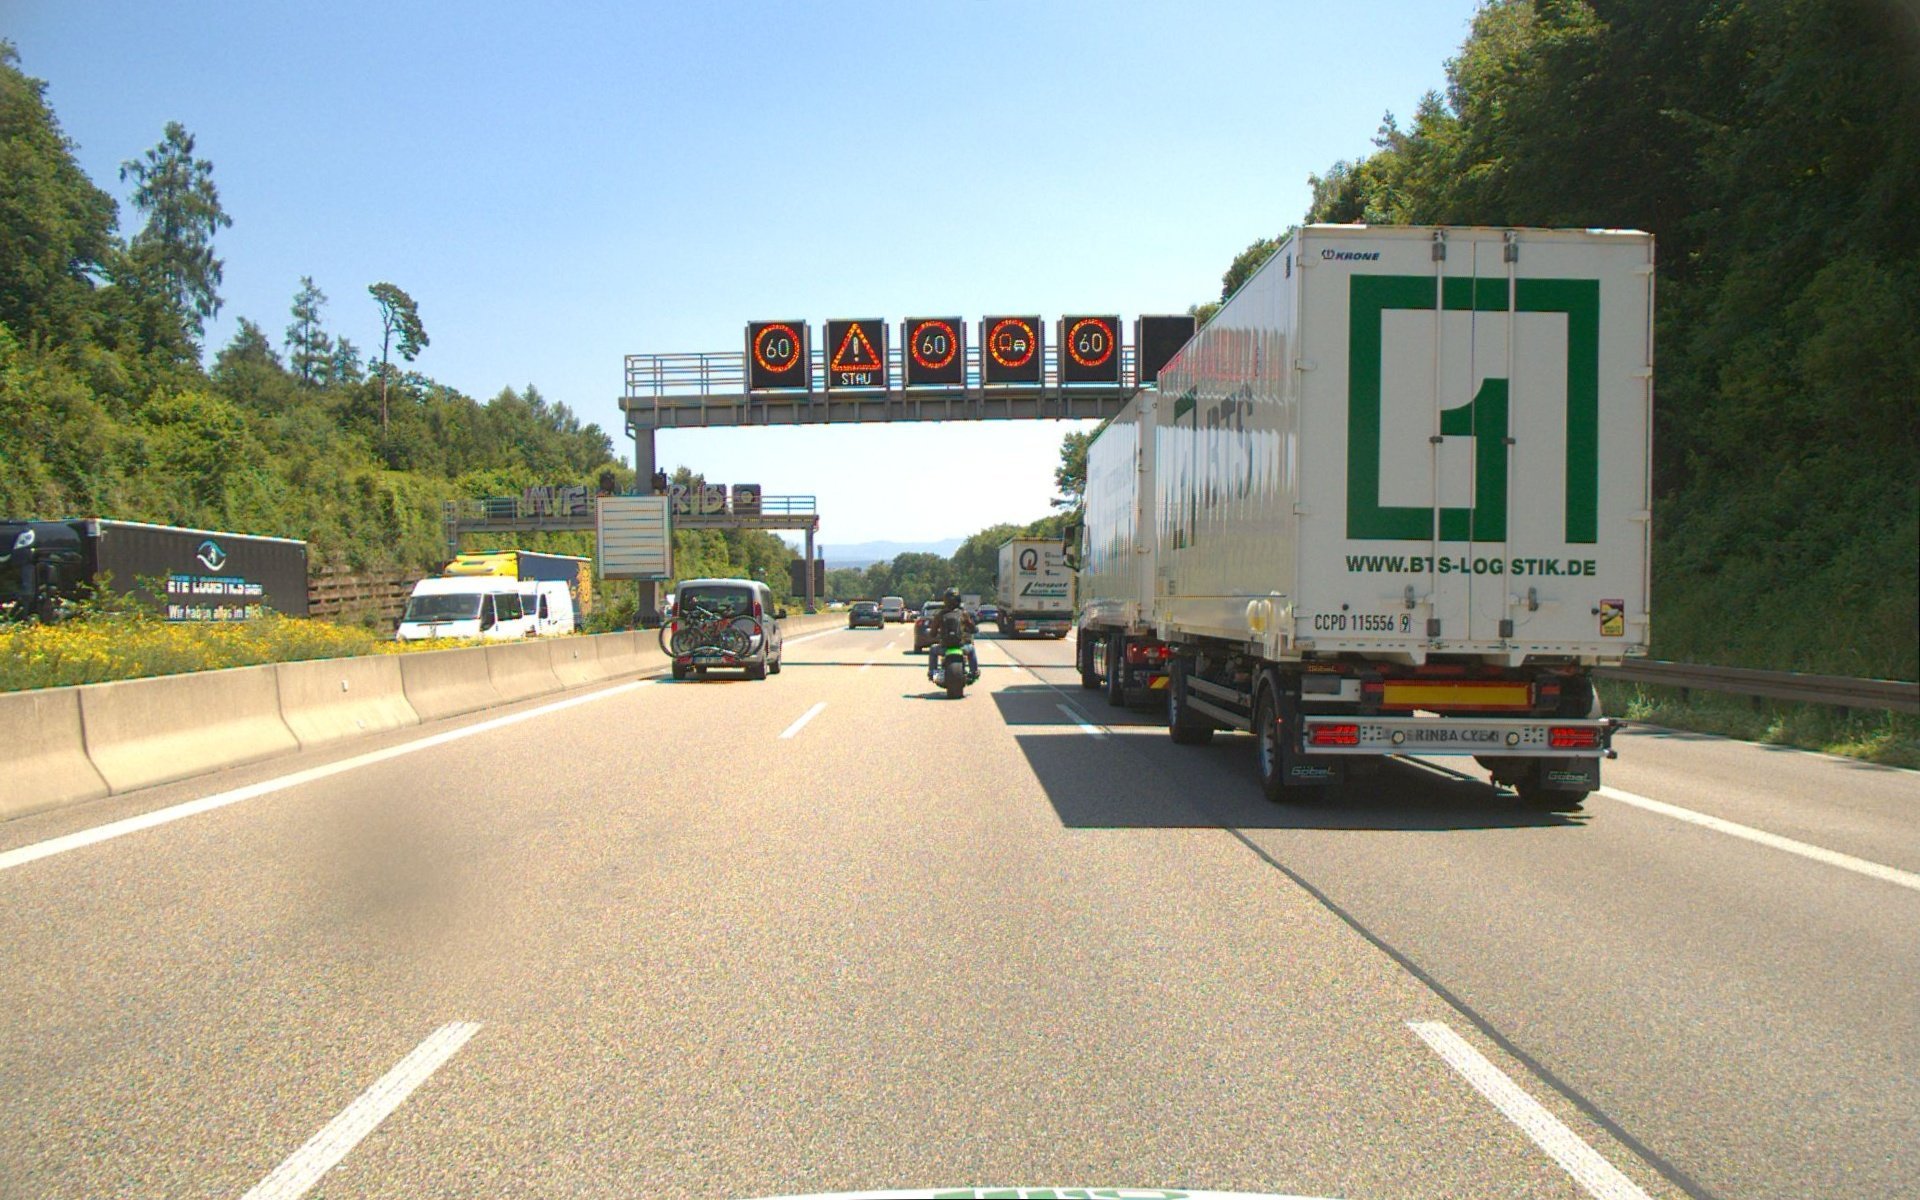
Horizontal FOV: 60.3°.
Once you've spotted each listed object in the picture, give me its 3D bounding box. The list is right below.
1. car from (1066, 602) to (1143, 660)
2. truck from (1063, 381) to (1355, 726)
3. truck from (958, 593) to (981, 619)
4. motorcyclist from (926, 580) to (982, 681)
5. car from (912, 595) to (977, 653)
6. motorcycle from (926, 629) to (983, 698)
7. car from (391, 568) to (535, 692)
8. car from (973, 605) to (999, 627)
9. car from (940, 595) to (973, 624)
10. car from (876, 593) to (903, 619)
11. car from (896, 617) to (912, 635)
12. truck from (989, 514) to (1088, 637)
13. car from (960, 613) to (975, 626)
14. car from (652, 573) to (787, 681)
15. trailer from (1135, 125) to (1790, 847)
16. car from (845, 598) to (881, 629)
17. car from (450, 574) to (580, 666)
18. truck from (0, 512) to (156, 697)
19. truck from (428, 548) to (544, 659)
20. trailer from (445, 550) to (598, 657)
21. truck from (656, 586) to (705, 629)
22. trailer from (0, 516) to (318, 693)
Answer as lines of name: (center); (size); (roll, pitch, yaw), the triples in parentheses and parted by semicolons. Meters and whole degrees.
car: (4.231, 0.887, 48.965); (1.808, 1.584, 4.391); (1, 0, -1)
truck: (3.336, -0.555, 25.216); (2.625, 4.130, 10.623); (1, 0, -1)
truck: (1.324, 0.854, 230.612); (3.005, 3.405, 9.650); (2, 0, -1)
motorcyclist: (-0.088, 0.465, 25.631); (0.838, 1.541, 0.913); (0, -1, 0)
car: (-0.481, 0.664, 48.631); (1.808, 1.584, 4.438); (1, 0, -1)
motorcycle: (-0.079, 0.965, 25.695); (0.844, 0.999, 2.130); (0, -1, 0)
car: (-11.718, 0.660, 39.349); (1.958, 2.720, 4.845); (-1, 0, -1)
car: (1.919, 1.181, 123.873); (1.794, 1.553, 4.026); (1, 0, -1)
car: (-0.231, 0.538, 95.335); (1.794, 1.586, 4.119); (1, 0, -1)
car: (-5.099, 0.421, 120.209); (1.794, 1.842, 4.119); (1, 0, -1)
car: (-6.240, 2.902, 184.471); (1.794, 1.842, 4.119); (1, 0, -1)
truck: (3.300, -0.971, 75.090); (3.314, 4.800, 17.705); (2, 0, -1)
car: (0.924, 2.463, 206.435); (1.794, 1.553, 4.026); (1, 0, -1)
car: (-4.492, 0.496, 31.702); (1.859, 1.880, 5.481); (1, -1, -1)
trailer: (3.519, -0.670, 14.829); (2.625, 4.249, 10.063); (1, 0, -1)
car: (-5.150, 0.705, 87.932); (1.722, 1.571, 4.394); (1, 0, -1)
car: (-14.260, 0.591, 53.441); (2.698, 2.720, 5.682); (-2, 0, -1)
truck: (-22.382, 0.154, 40.051); (2.875, 4.130, 5.867); (-2, 0, -1)
truck: (-19.602, 0.148, 68.770); (2.891, 4.275, 6.456); (-2, 0, -1)
trailer: (-19.608, 0.153, 75.182); (2.917, 4.280, 14.464); (-2, 0, 0)
truck: (-20.863, 0.530, 123.657); (2.527, 3.045, 7.060); (-1, 0, -1)
trailer: (-22.443, 0.120, 47.060); (2.918, 4.172, 13.991); (-2, 0, -1)
